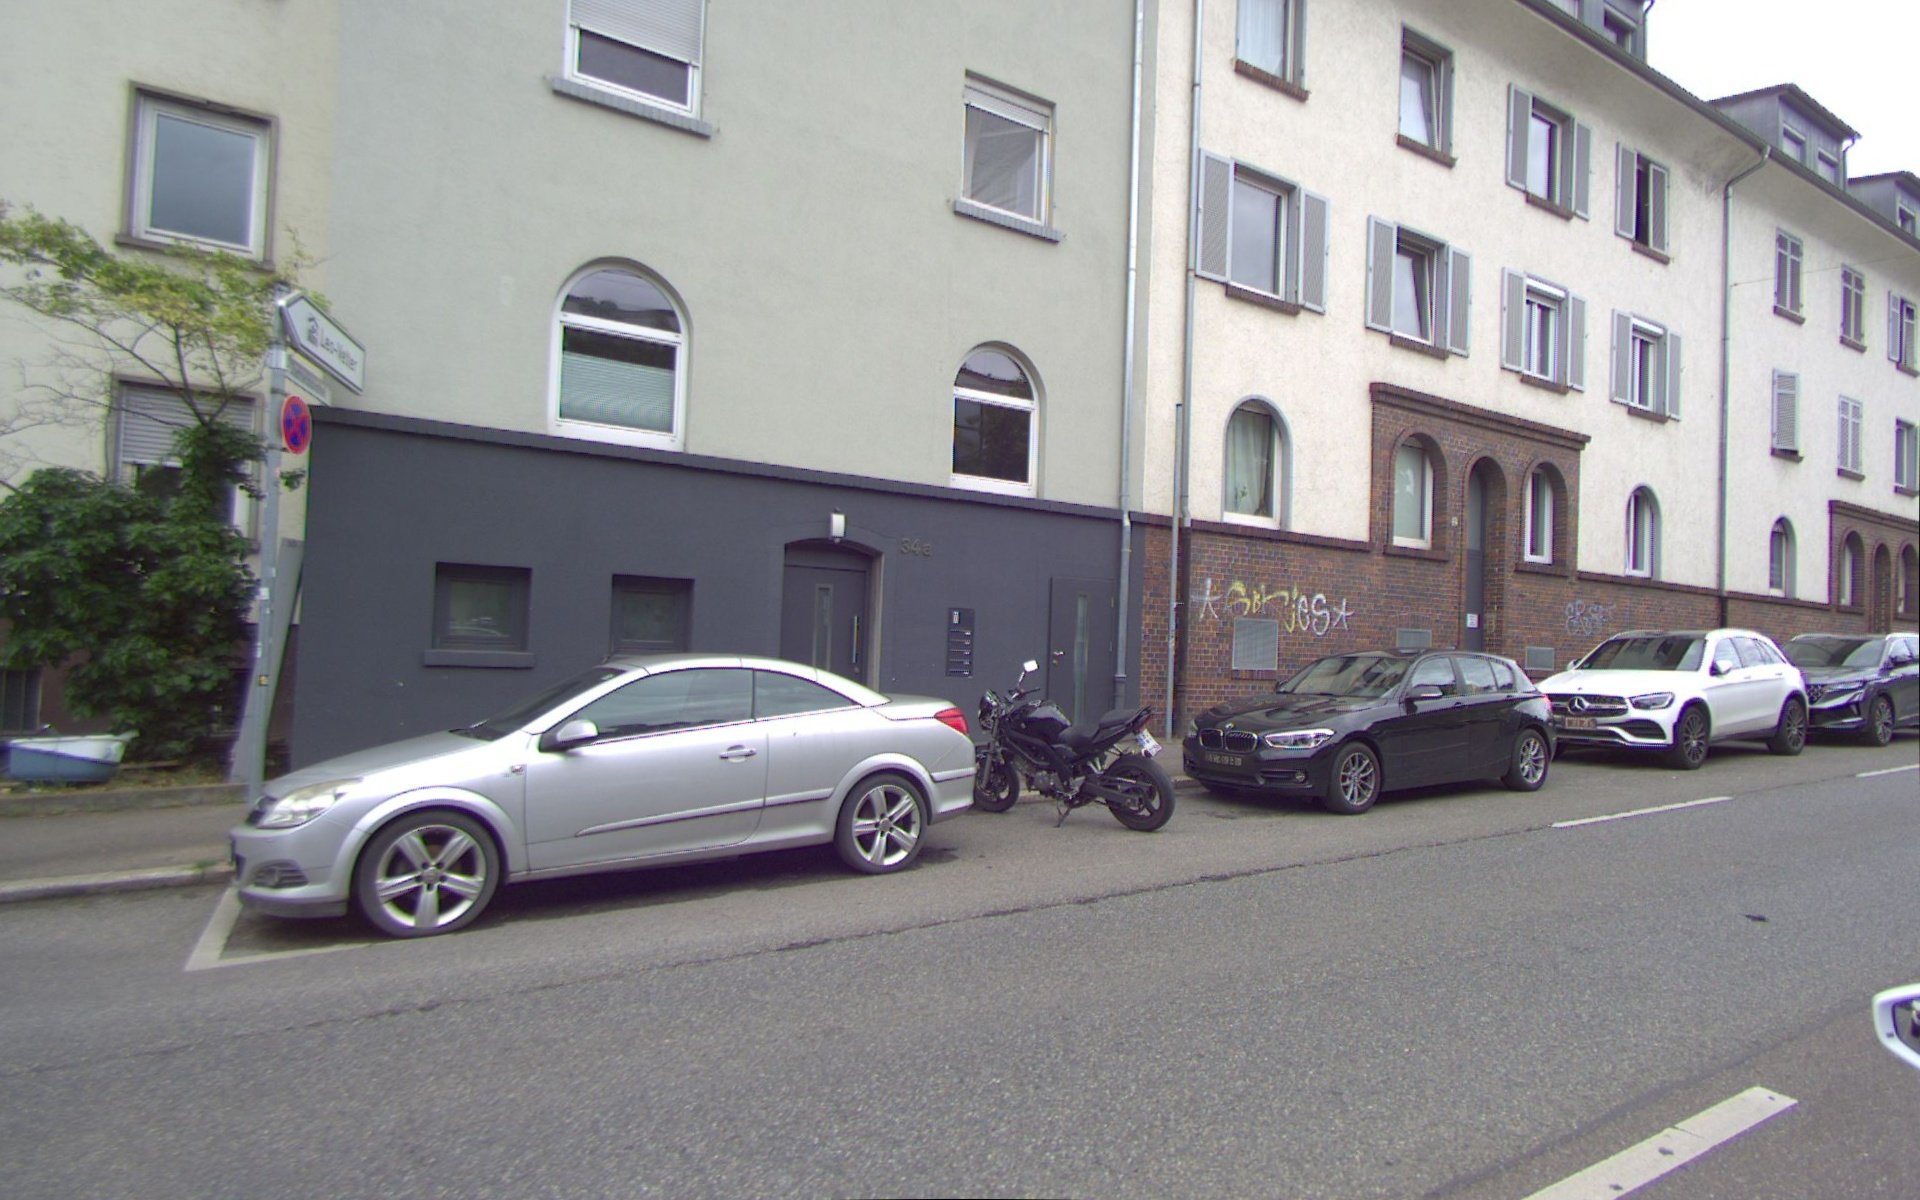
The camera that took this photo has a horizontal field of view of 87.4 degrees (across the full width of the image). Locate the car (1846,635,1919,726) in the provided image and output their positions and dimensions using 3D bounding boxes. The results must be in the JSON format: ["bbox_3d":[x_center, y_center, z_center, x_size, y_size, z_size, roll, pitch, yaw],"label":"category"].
[{"bbox_3d":[18.223,1.447,18.460,4.035,1.578,1.719,2,-4,-31],"label":"car"}]

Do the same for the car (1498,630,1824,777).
[{"bbox_3d":[9.301,1.225,13.230,4.590,1.642,1.836,1,-2,-31],"label":"car"}]

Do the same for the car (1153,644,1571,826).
[{"bbox_3d":[4.064,1.182,9.995,4.143,1.448,1.719,1,-2,-31],"label":"car"}]

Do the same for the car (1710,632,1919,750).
[{"bbox_3d":[13.798,1.308,15.607,4.445,1.620,1.720,1,-2,-28],"label":"car"}]

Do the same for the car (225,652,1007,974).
[{"bbox_3d":[-1.942,1.061,6.428,4.289,1.392,1.718,1,-2,-32],"label":"car"}]

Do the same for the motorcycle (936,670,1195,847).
[{"bbox_3d":[0.808,1.211,8.216,2.018,1.251,0.803,-4,-4,43],"label":"motorcycle"}]
